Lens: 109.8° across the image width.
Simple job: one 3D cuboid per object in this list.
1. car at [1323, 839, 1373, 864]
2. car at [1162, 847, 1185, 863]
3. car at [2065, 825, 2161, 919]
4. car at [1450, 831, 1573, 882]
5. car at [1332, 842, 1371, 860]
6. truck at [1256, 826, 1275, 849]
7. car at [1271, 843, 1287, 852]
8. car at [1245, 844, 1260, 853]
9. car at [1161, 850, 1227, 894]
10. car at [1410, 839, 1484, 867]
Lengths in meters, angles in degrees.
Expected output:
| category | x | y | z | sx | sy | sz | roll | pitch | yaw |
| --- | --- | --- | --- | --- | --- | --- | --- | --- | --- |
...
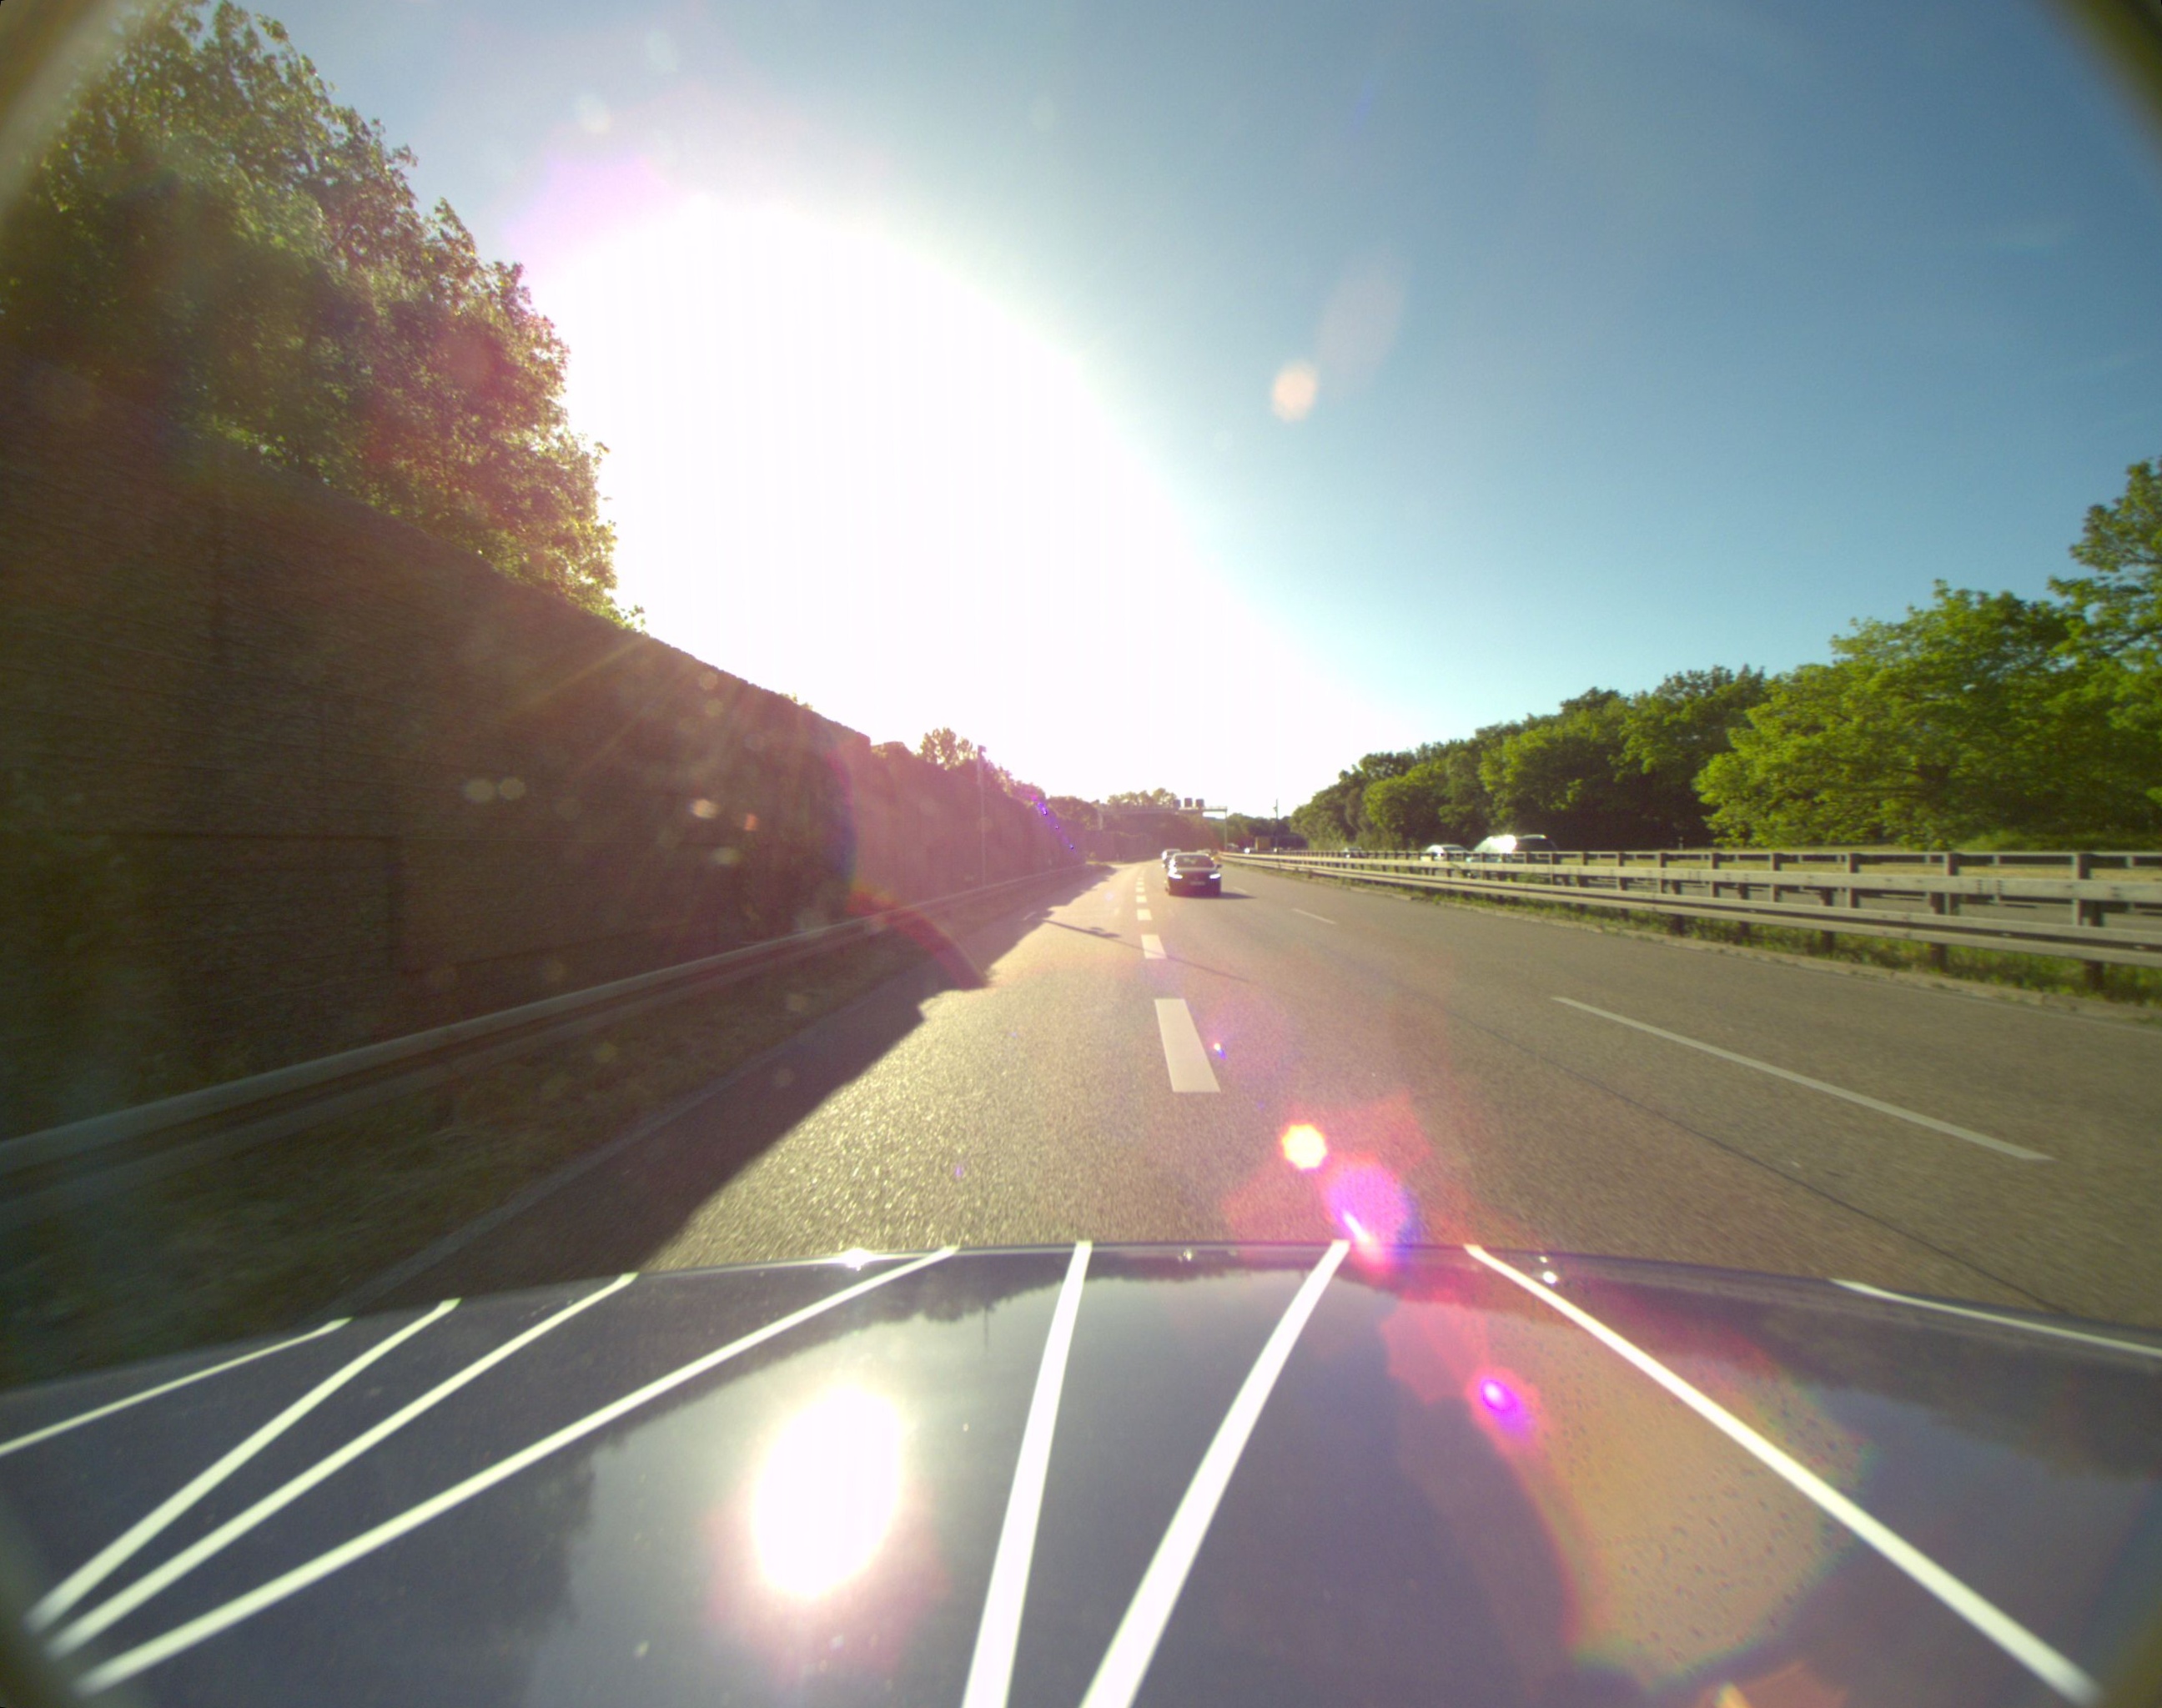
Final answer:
| category | x | y | z | sx | sy | sz | roll | pitch | yaw |
| --- | --- | --- | --- | --- | --- | --- | --- | --- | --- |
| car | 18.481 | -0.182 | 52.868 | 1.998 | 1.631 | 4.721 | -2 | 1 | 3 |
| car | 8.829 | 0.055 | 72.786 | 1.998 | 1.406 | 4.832 | -2 | 0 | 6 |
| car | 18.106 | 0.272 | 10.885 | 1.998 | 1.469 | 4.721 | -2 | 0 | 3 |
| car | 15.655 | 0.062 | 27.993 | 1.998 | 1.631 | 4.721 | -2 | 1 | 3 |
| car | 23.677 | -0.264 | 66.639 | 1.998 | 1.406 | 4.832 | -2 | 0 | 4 |
| truck | 38.231 | -3.432 | 157.701 | 3.171 | 4.394 | 8.024 | -3 | 1 | 11 |
| car | 31.041 | -1.028 | 119.261 | 1.997 | 1.406 | 4.833 | -2 | 0 | 9 |
| car | 27.765 | -0.943 | 123.050 | 1.997 | 1.406 | 4.833 | -2 | 0 | 9 |
| car | 3.987 | 0.583 | 27.491 | 1.998 | 1.406 | 4.832 | -1 | 1 | 4 |
| car | 20.541 | -0.078 | 42.922 | 1.998 | 1.406 | 4.831 | -2 | 0 | 3 |
